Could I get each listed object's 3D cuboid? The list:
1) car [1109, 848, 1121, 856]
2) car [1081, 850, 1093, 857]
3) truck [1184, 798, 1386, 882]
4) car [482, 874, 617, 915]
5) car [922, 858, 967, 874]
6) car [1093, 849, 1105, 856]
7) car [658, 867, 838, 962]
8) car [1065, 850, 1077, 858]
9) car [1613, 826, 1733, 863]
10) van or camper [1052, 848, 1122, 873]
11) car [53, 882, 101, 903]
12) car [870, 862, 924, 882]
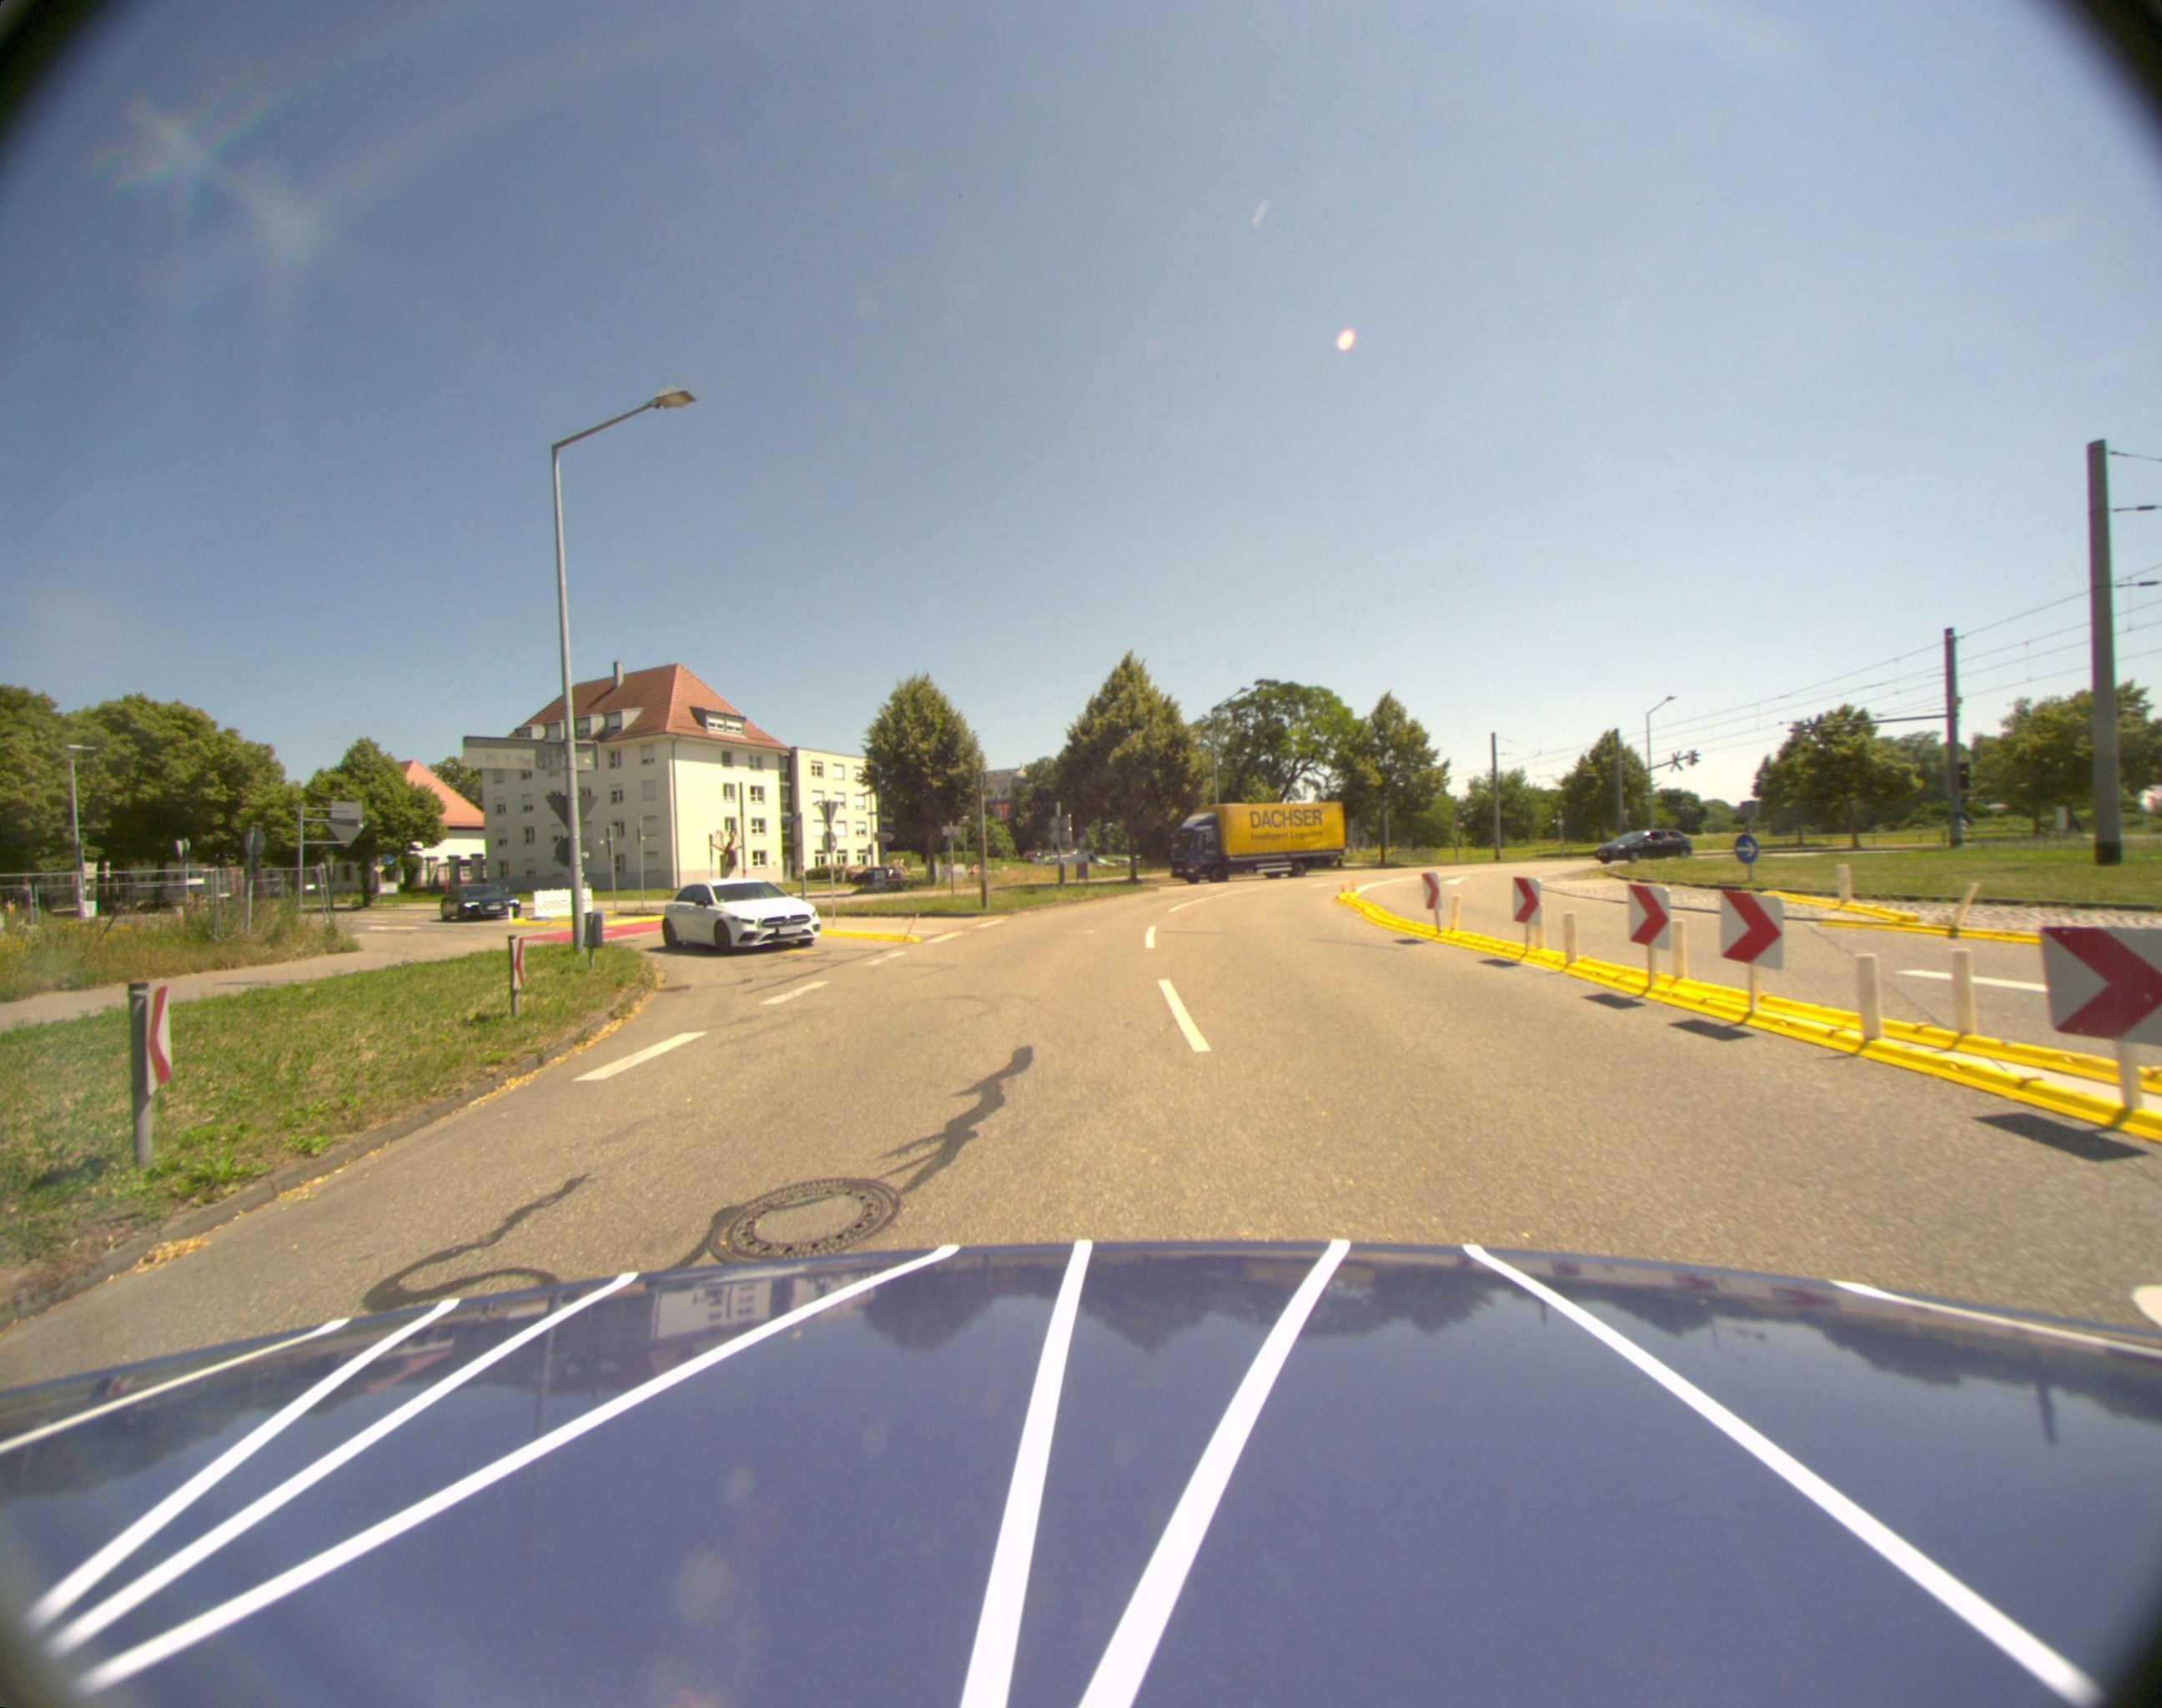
[{"bbox_3d":[6.862,-0.363,152.375,1.476,1.408,3.032,-2,0,21],"label":"car"},{"bbox_3d":[1.296,-0.117,154.964,1.476,1.408,3.032,-2,0,21],"label":"car"},{"bbox_3d":[9.909,-0.740,36.590,9.625,3.637,2.702,-2,0,-23],"label":"truck"},{"bbox_3d":[-22.200,1.682,31.791,4.611,1.443,1.802,-2,2,10],"label":"car"},{"bbox_3d":[-11.381,1.003,63.363,3.505,1.210,1.359,-2,0,26],"label":"car"},{"bbox_3d":[3.643,-0.281,153.756,1.476,1.408,3.032,-2,0,21],"label":"car"},{"bbox_3d":[-6.836,1.130,15.408,3.952,1.537,1.784,-2,3,42],"label":"car"},{"bbox_3d":[-1.987,0.012,155.504,1.476,1.408,3.032,-2,0,21],"label":"car"},{"bbox_3d":[26.069,-0.425,33.545,4.000,1.410,1.978,-3,1,-10],"label":"car"},{"bbox_3d":[0.473,0.511,61.905,5.260,1.846,2.003,-2,0,25],"label":"van or camper"},{"bbox_3d":[-90.720,3.466,68.652,4.194,1.759,1.693,0,-1,25],"label":"car"},{"bbox_3d":[-13.989,1.364,57.738,3.798,1.319,1.662,-2,0,26],"label":"car"}]
